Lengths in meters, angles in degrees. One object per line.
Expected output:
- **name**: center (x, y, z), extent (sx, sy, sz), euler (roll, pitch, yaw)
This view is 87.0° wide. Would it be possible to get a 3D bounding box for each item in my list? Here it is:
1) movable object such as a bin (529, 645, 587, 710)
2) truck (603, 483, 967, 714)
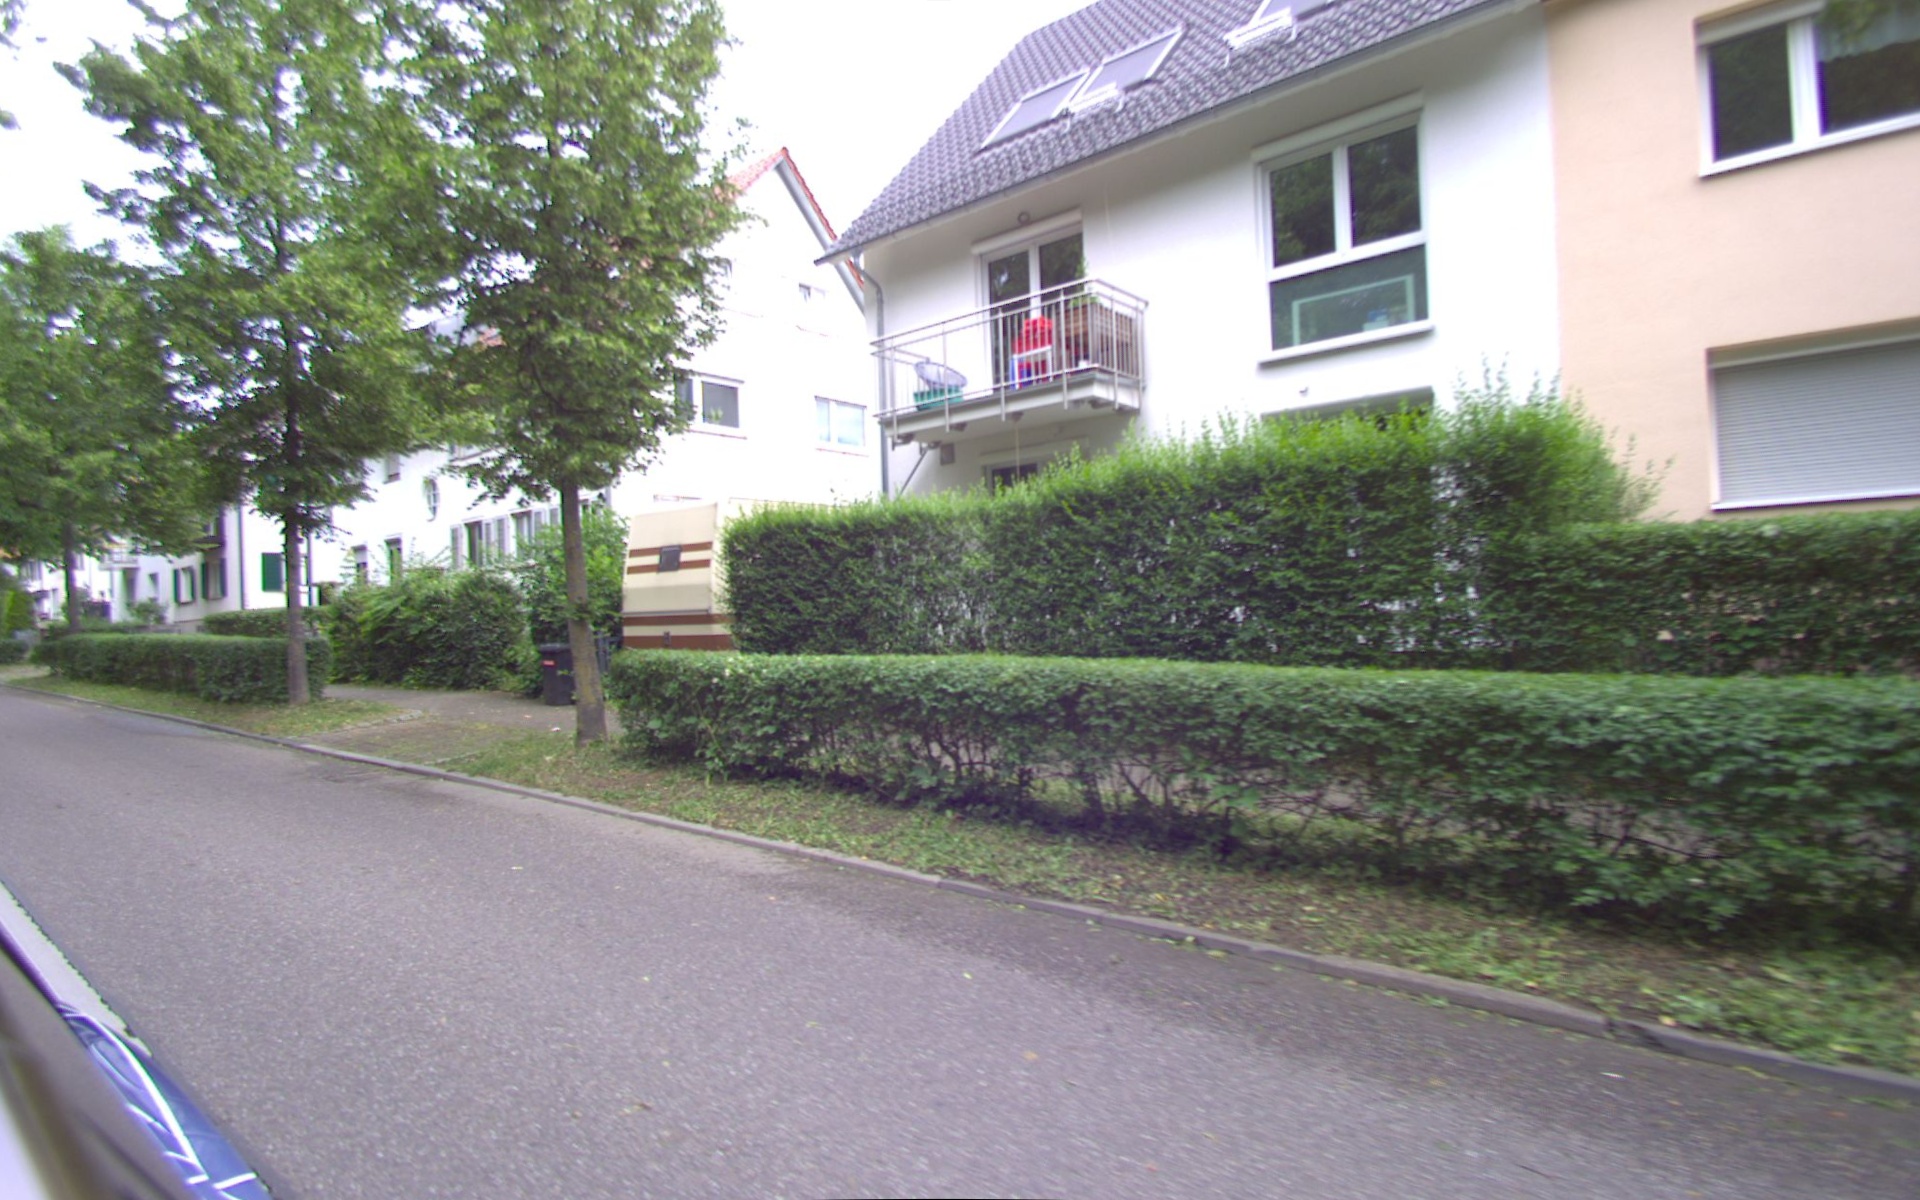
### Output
- **movable object such as a bin**: center (-6.019, 1.145, 15.151), extent (0.693, 0.933, 0.574), euler (-2, -2, 42)
- **truck**: center (-2.661, -0.025, 16.886), extent (2.515, 3.154, 5.740), euler (-2, 0, 38)
